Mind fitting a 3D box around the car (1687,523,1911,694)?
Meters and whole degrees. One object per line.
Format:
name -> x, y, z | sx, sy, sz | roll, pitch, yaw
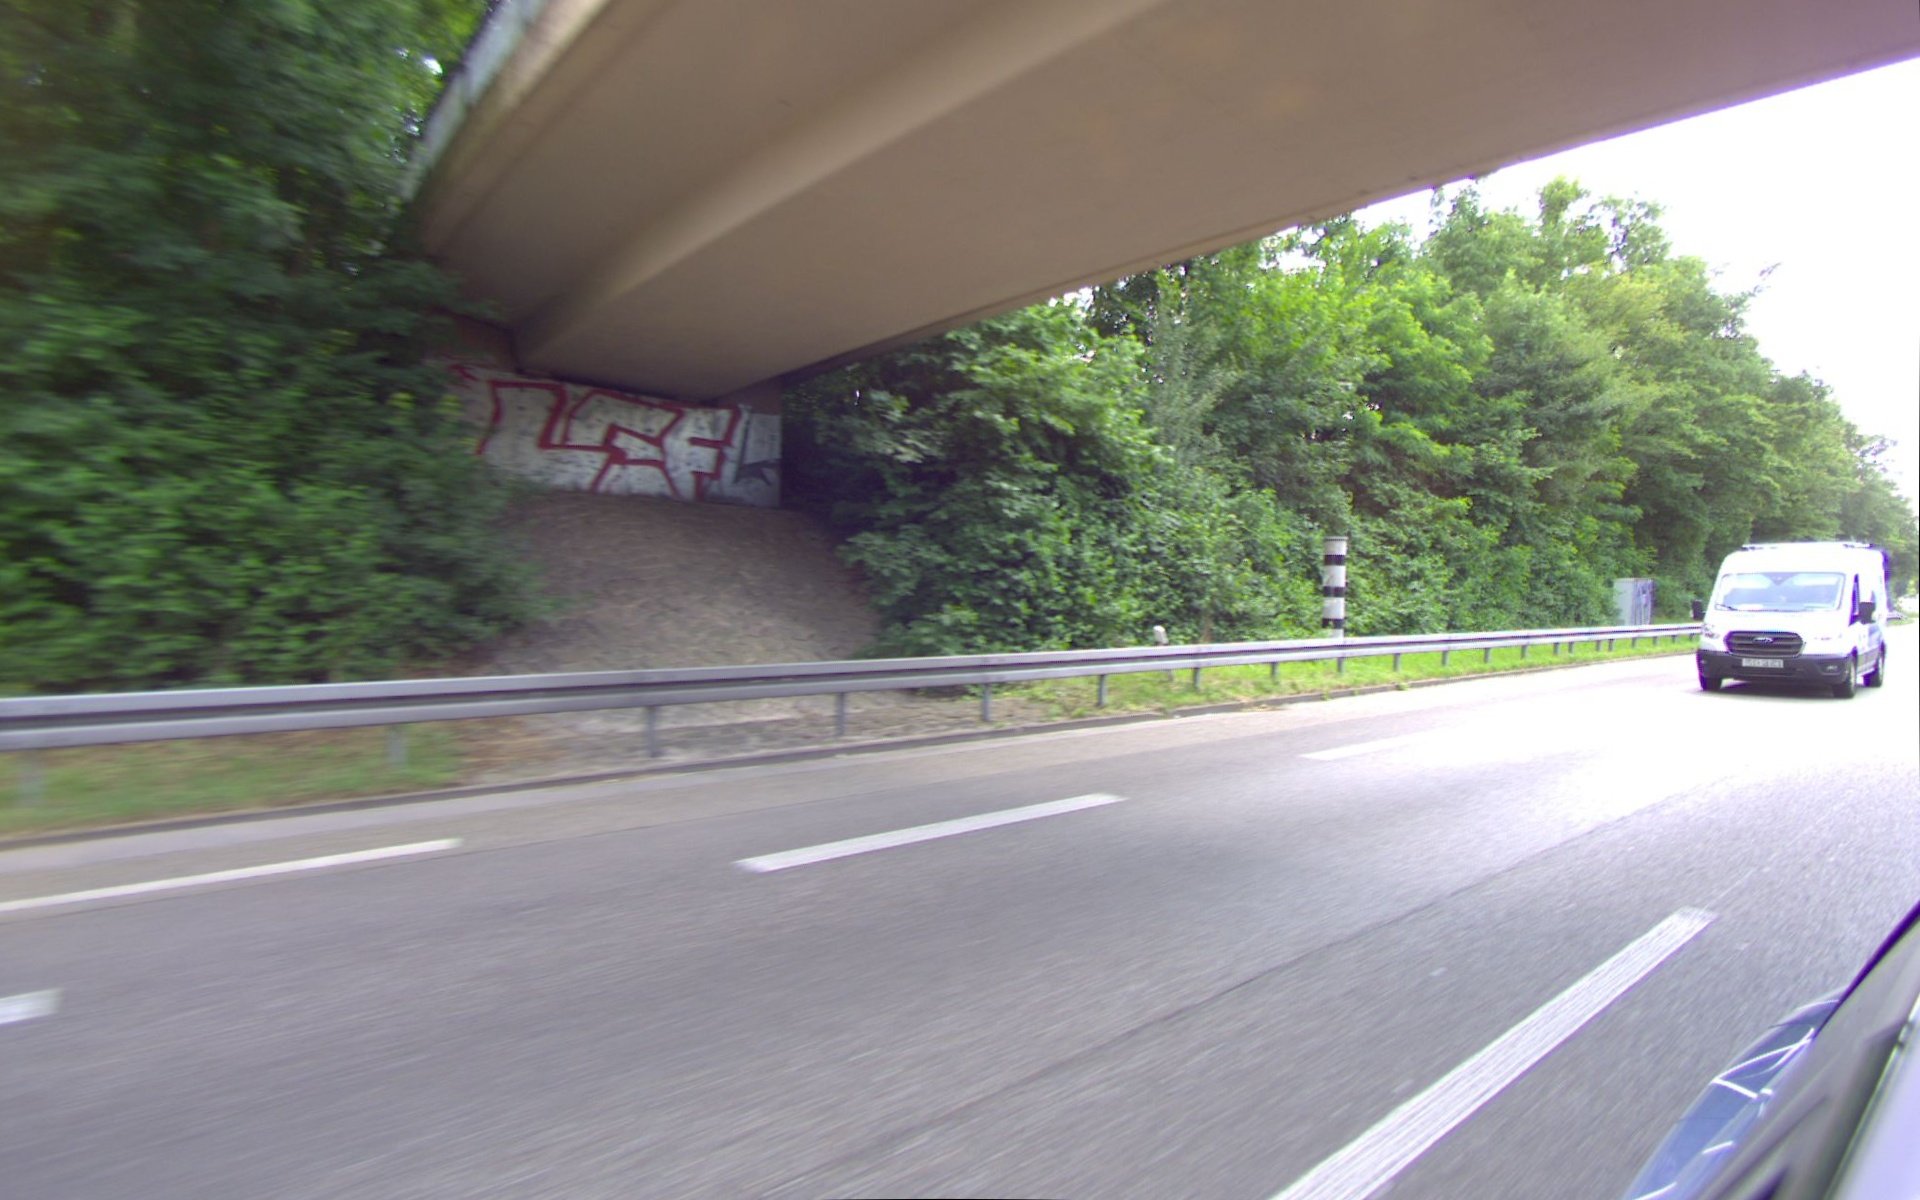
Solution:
car -> 14.671, 0.116, 17.575 | 5.185, 2.539, 2.103 | 0, 0, -40
